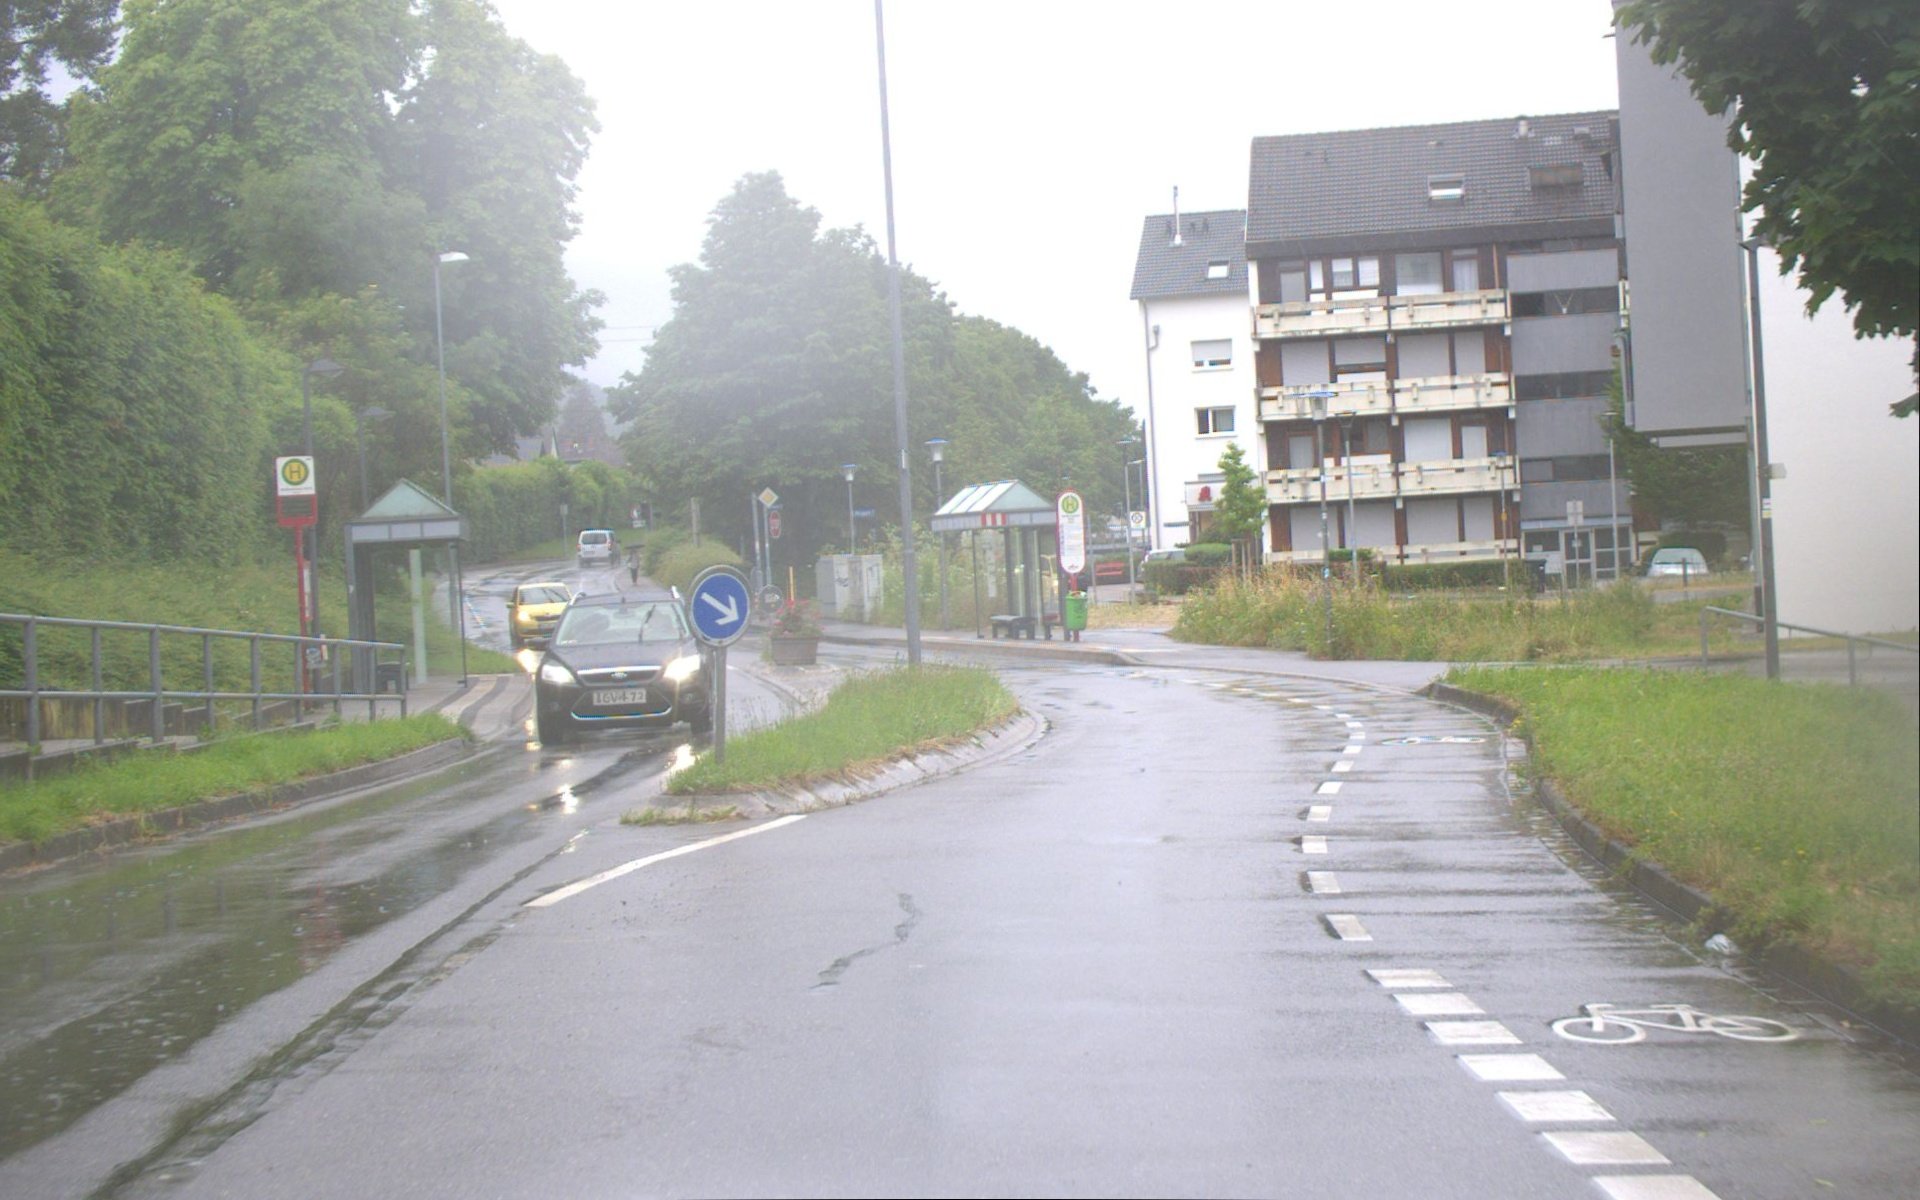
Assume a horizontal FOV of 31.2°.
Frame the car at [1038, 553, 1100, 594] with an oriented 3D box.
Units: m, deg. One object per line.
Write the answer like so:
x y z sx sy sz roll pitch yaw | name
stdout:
4.158 -1.026 131.561 1.688 1.433 3.613 -2 2 -9 | car

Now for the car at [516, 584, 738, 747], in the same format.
-3.440 0.640 36.211 1.760 1.498 4.141 -4 0 1 | car

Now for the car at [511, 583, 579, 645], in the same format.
-10.505 0.349 86.972 1.572 1.405 3.475 -4 1 -7 | car

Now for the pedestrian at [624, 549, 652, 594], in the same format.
-12.535 -1.101 133.848 0.920 1.669 1.057 -4 2 -8 | pedestrian
